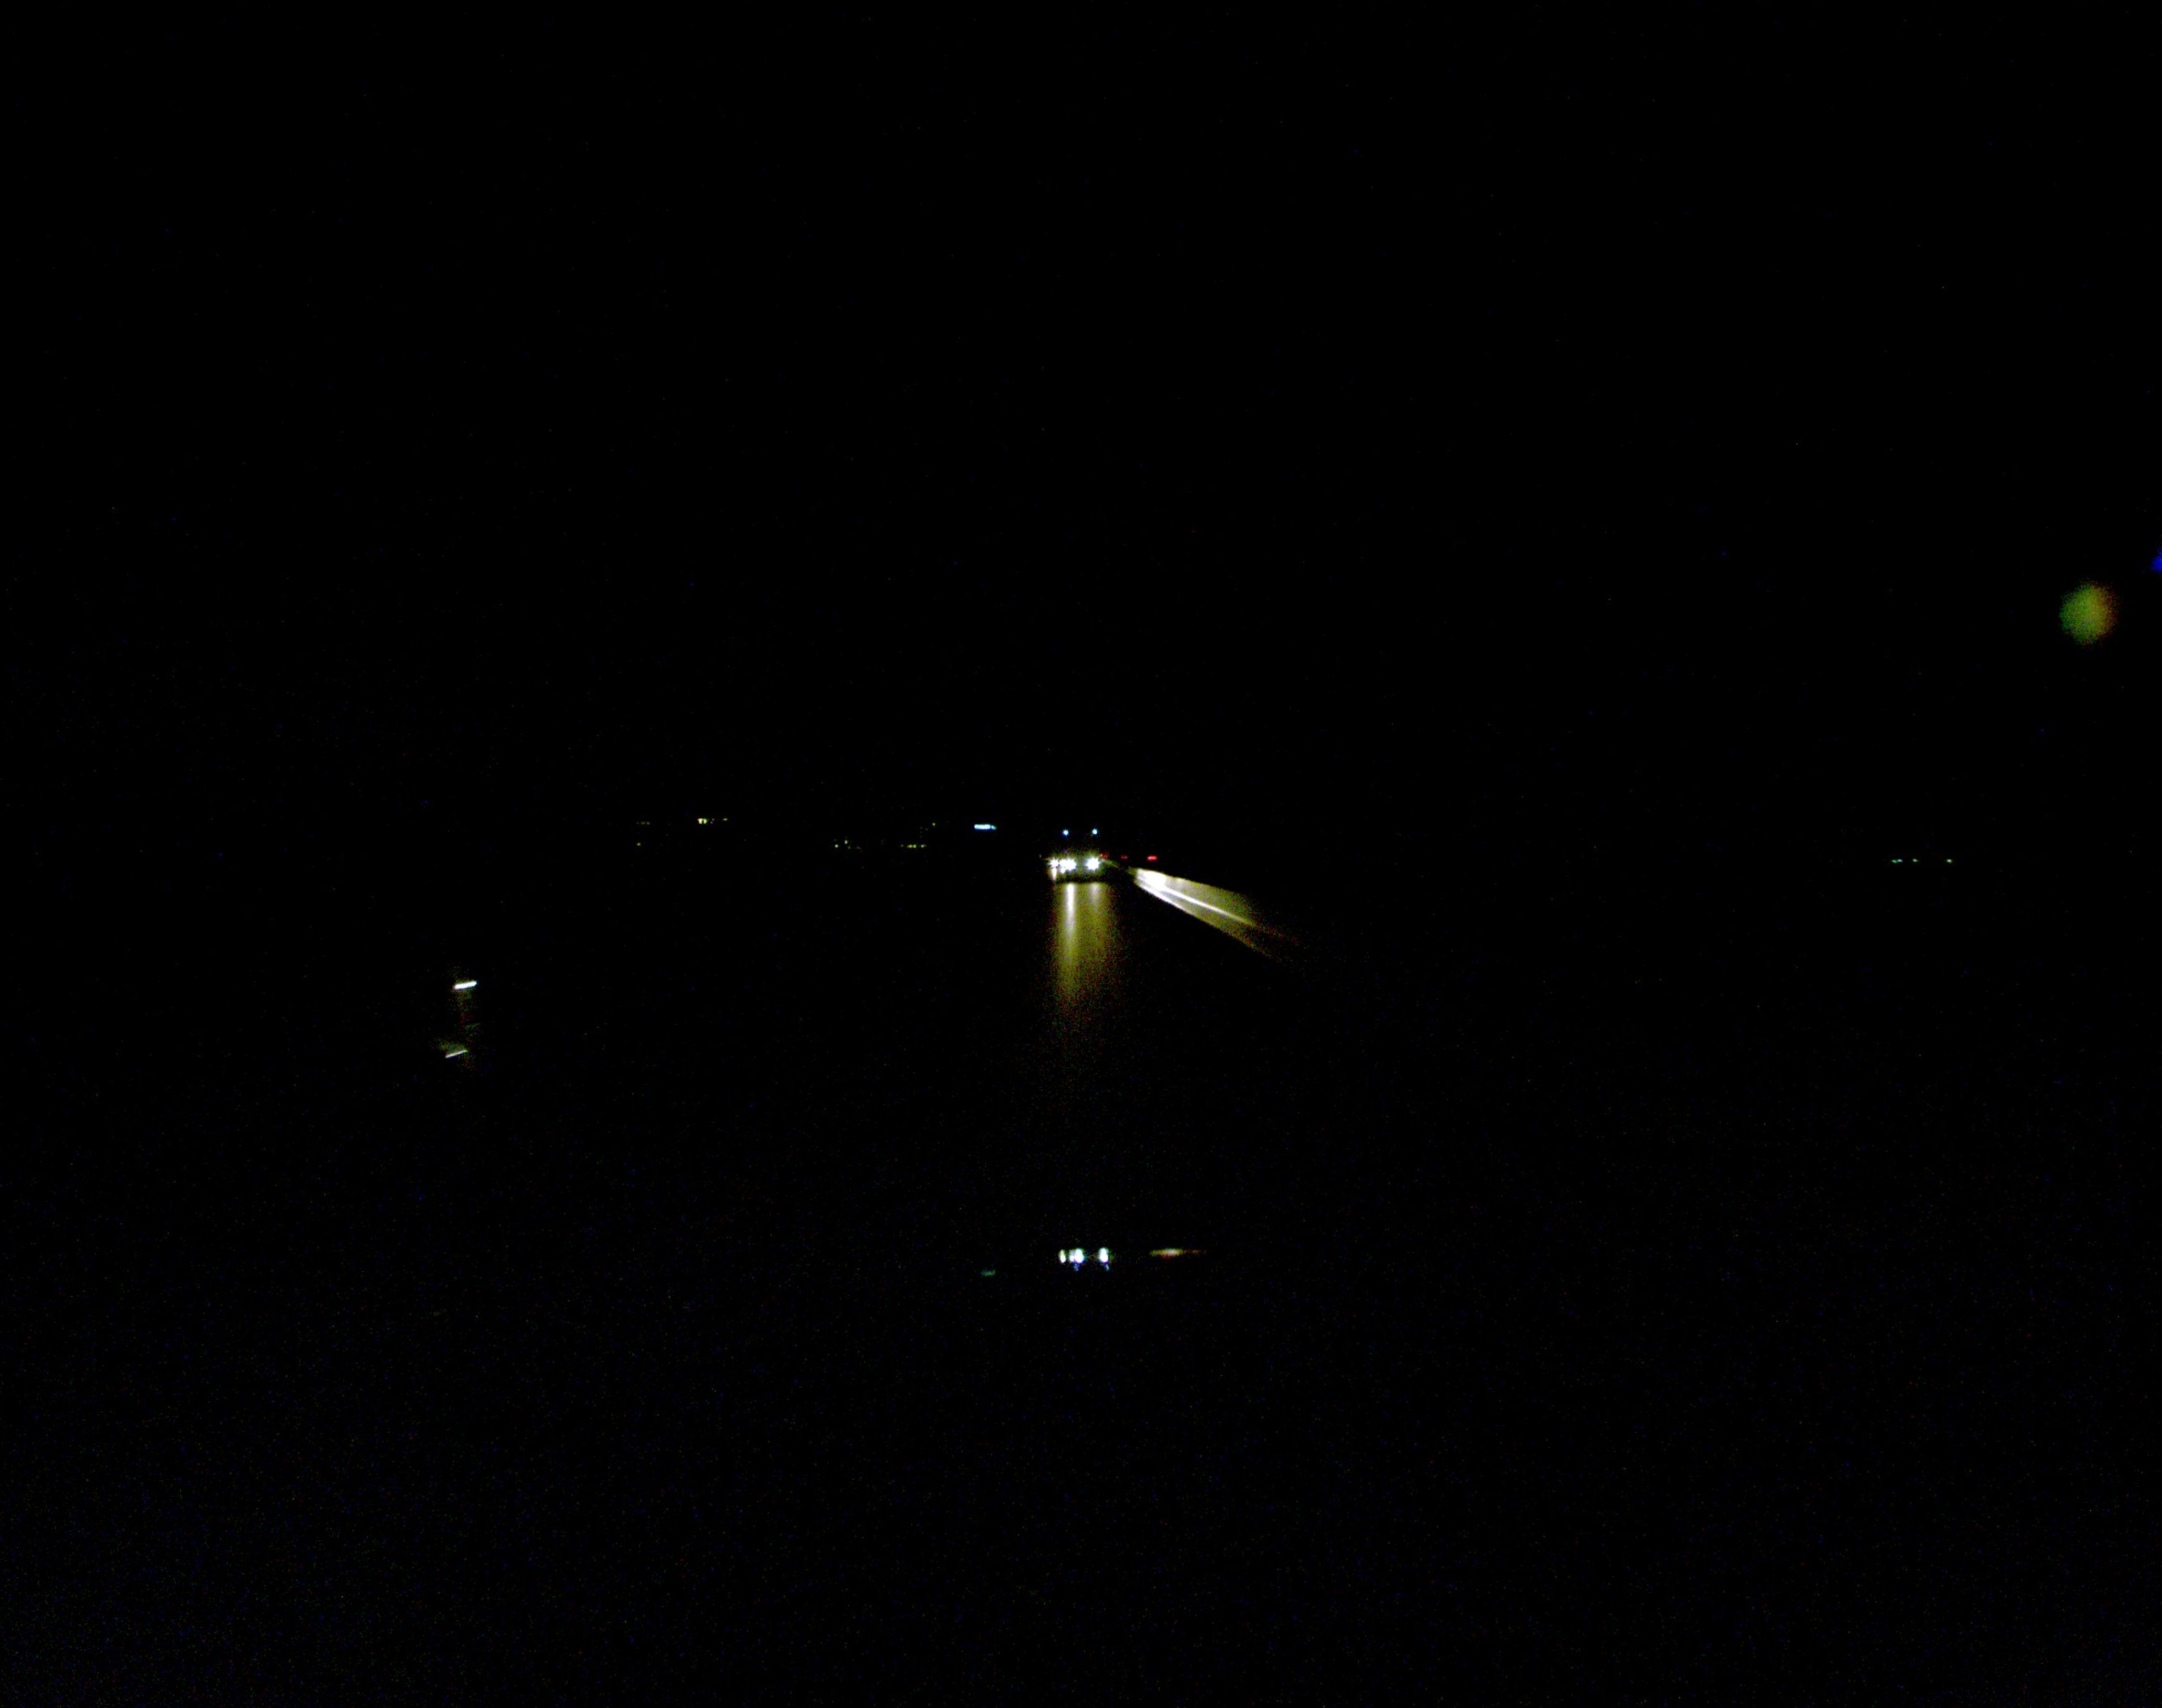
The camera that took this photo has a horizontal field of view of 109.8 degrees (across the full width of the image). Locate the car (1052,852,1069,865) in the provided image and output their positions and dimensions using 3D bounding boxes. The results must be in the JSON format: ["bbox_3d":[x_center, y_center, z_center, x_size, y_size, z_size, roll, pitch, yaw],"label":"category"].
[{"bbox_3d":[-2.628,0.570,97.289,1.998,1.576,4.127,-2,1,1],"label":"car"}]

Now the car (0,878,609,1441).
[{"bbox_3d":[-4.059,0.974,2.862,1.650,1.587,4.510,-1,0,1],"label":"car"}]

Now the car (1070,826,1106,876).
[{"bbox_3d":[0.502,-0.240,53.039,2.255,3.205,6.878,-2,1,1],"label":"car"}]

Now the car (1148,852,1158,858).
[{"bbox_3d":[17.970,0.160,189.072,1.999,1.411,4.982,1,0,-1],"label":"car"}]
